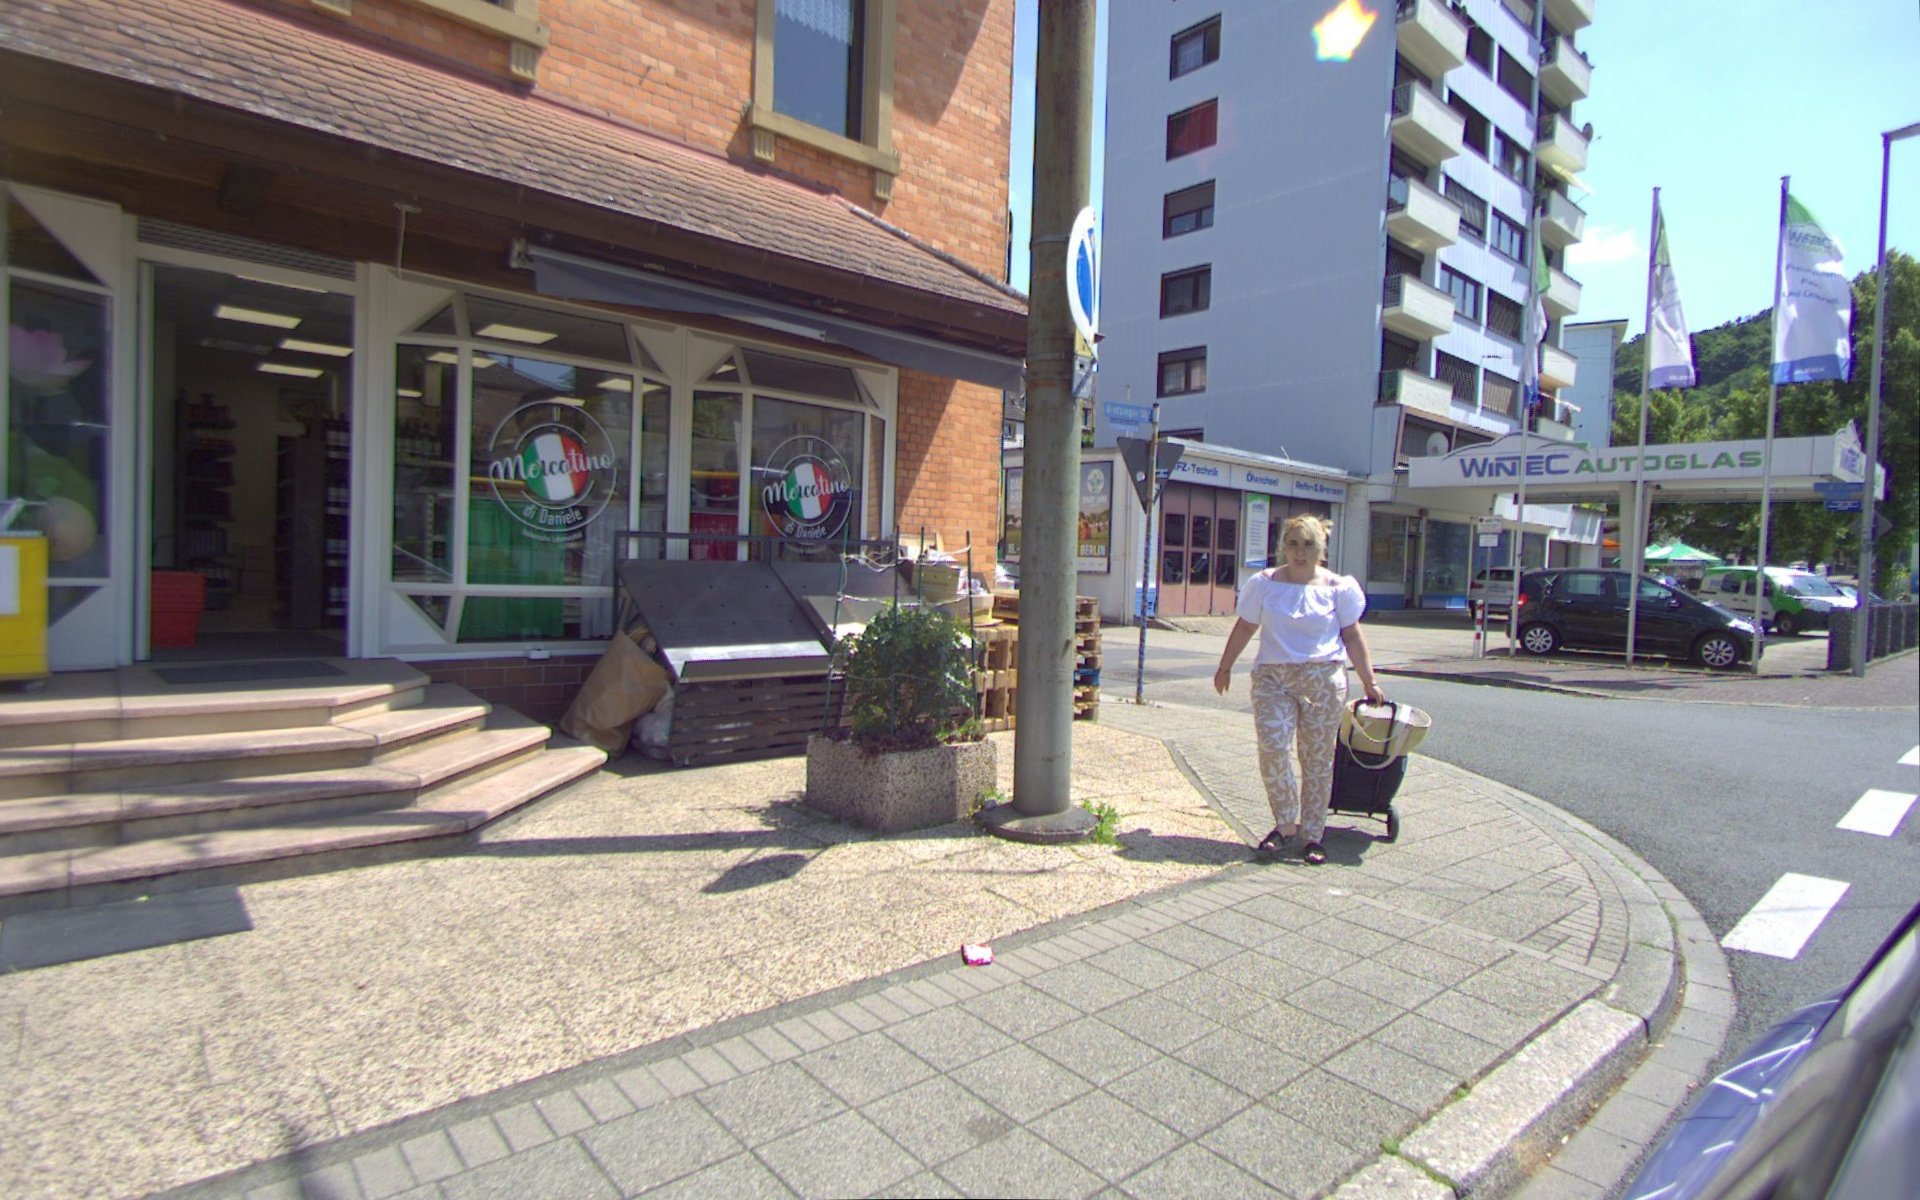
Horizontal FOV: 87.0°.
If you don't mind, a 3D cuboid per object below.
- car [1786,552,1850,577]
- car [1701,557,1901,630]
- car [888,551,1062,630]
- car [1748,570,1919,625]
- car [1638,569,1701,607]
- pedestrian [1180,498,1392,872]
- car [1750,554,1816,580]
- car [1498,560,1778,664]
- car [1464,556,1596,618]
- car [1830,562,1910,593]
[{"bbox_3d":[72.211,-2.987,85.171,5.274,2.038,2.405,-2,2,-29],"label":"car"},{"bbox_3d":[22.621,-0.222,27.473,1.788,1.812,4.292,-1,1,-1],"label":"car"},{"bbox_3d":[0.250,-0.262,22.593,1.809,1.562,3.887,0,3,-38],"label":"car"},{"bbox_3d":[27.020,-0.120,31.243,1.664,1.446,3.984,1,3,-16],"label":"car"},{"bbox_3d":[28.728,-0.522,41.071,1.699,1.417,4.239,1,2,30],"label":"car"},{"bbox_3d":[1.599,0.361,4.964,0.704,1.661,0.650,5,2,40],"label":"pedestrian"},{"bbox_3d":[66.575,-2.659,81.865,5.274,2.038,2.405,-2,2,-29],"label":"car"},{"bbox_3d":[11.769,0.116,17.741,3.868,1.561,1.818,3,3,37],"label":"car"},{"bbox_3d":[16.405,-0.395,29.024,4.622,1.646,1.750,-1,3,-40],"label":"car"},{"bbox_3d":[64.473,-1.606,71.678,6.246,2.038,2.405,-2,2,-29],"label":"car"}]
